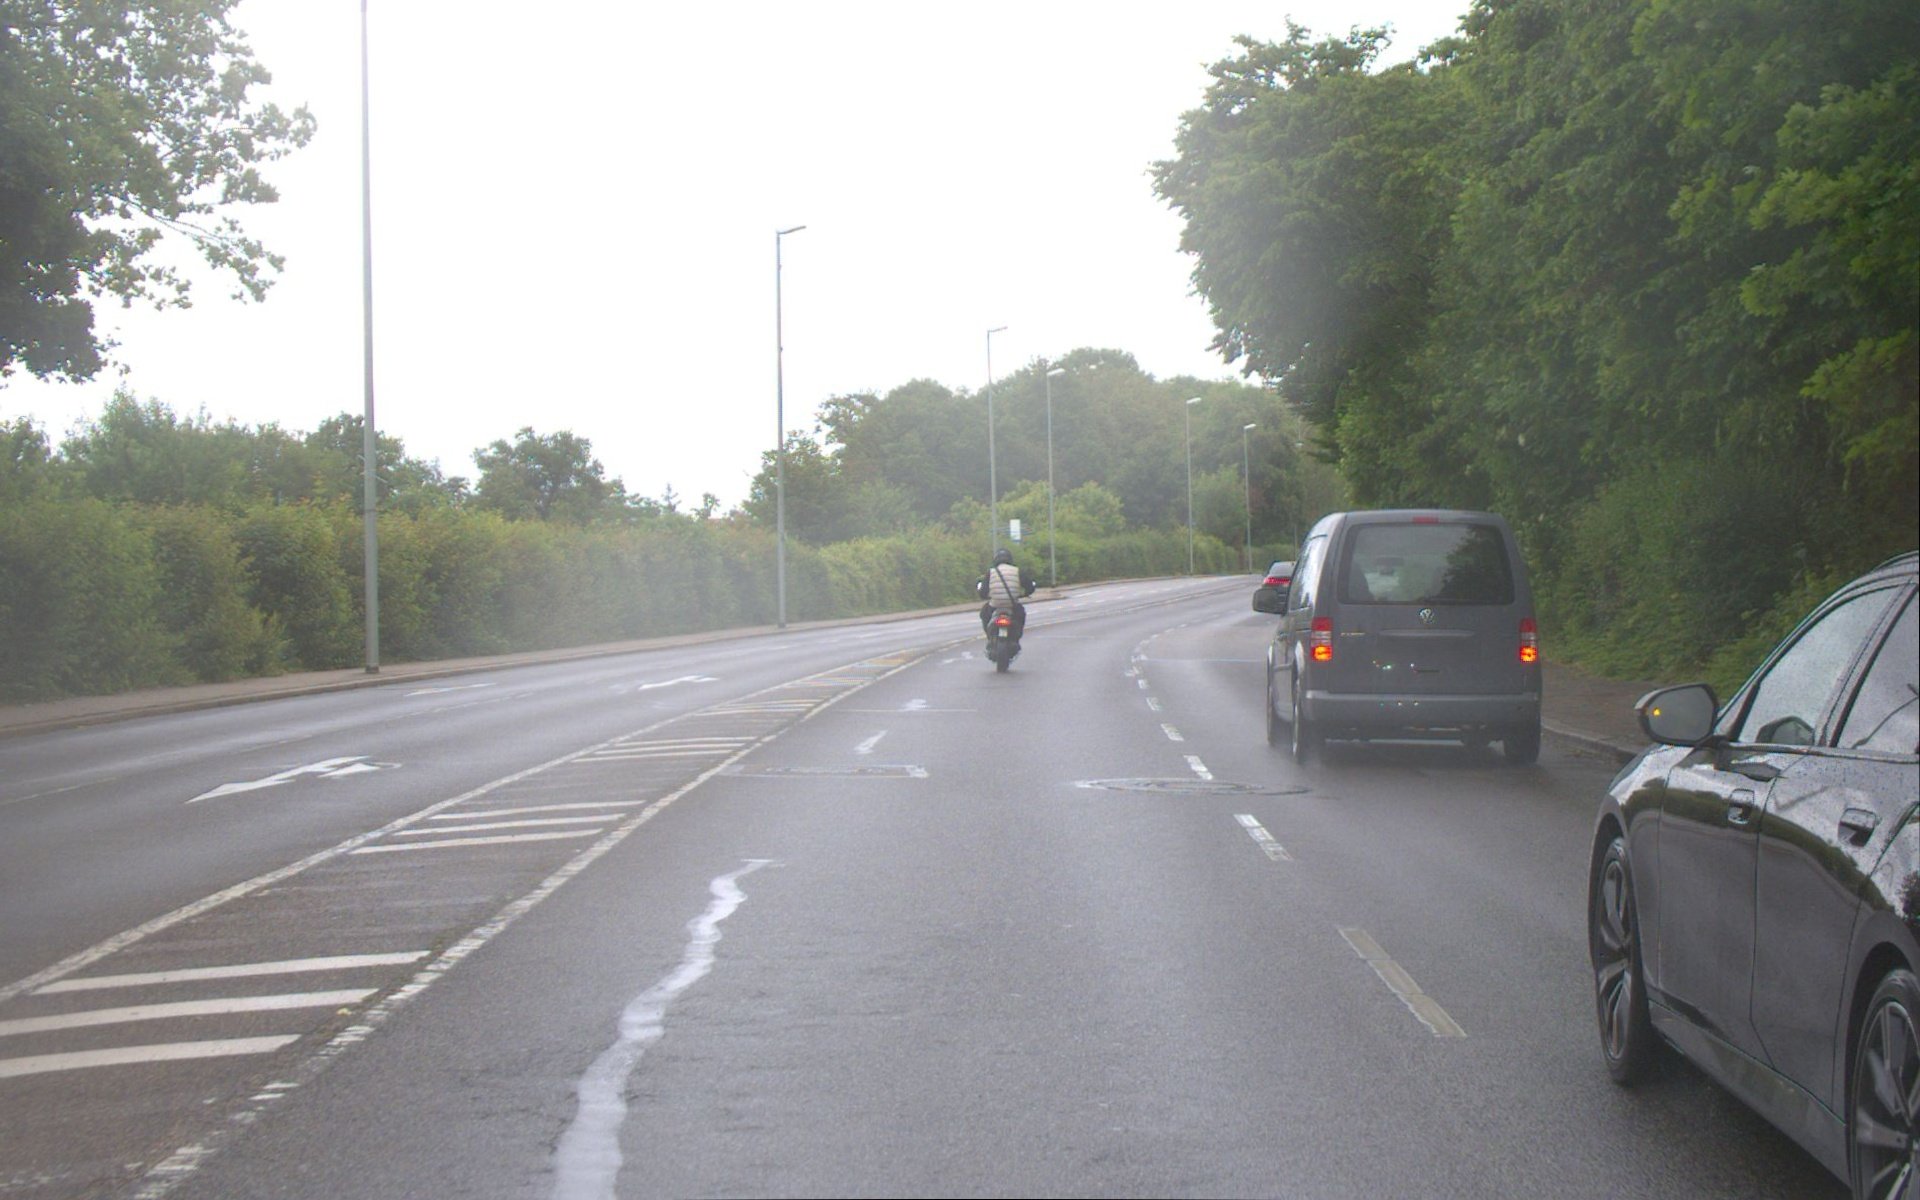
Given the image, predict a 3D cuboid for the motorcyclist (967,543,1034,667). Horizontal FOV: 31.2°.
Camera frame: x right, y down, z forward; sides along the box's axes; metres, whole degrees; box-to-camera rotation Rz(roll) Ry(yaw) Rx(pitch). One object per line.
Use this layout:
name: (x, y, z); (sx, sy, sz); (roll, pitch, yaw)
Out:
motorcyclist: (0.546, 0.066, 46.053); (0.845, 1.641, 0.468); (-1, 2, 4)

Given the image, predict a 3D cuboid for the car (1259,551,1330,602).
car: (10.322, -0.740, 105.964); (2.015, 1.410, 4.485); (0, 2, 8)

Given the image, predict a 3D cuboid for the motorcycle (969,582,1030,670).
motorcycle: (0.539, 0.344, 46.128); (0.741, 1.115, 1.426); (0, 2, 4)

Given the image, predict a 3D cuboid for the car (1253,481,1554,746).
car: (3.220, 0.026, 25.651); (1.767, 1.803, 3.906); (0, 2, 0)

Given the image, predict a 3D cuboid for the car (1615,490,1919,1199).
car: (2.594, 0.547, 7.179); (1.764, 1.531, 3.673); (0, 1, 0)
